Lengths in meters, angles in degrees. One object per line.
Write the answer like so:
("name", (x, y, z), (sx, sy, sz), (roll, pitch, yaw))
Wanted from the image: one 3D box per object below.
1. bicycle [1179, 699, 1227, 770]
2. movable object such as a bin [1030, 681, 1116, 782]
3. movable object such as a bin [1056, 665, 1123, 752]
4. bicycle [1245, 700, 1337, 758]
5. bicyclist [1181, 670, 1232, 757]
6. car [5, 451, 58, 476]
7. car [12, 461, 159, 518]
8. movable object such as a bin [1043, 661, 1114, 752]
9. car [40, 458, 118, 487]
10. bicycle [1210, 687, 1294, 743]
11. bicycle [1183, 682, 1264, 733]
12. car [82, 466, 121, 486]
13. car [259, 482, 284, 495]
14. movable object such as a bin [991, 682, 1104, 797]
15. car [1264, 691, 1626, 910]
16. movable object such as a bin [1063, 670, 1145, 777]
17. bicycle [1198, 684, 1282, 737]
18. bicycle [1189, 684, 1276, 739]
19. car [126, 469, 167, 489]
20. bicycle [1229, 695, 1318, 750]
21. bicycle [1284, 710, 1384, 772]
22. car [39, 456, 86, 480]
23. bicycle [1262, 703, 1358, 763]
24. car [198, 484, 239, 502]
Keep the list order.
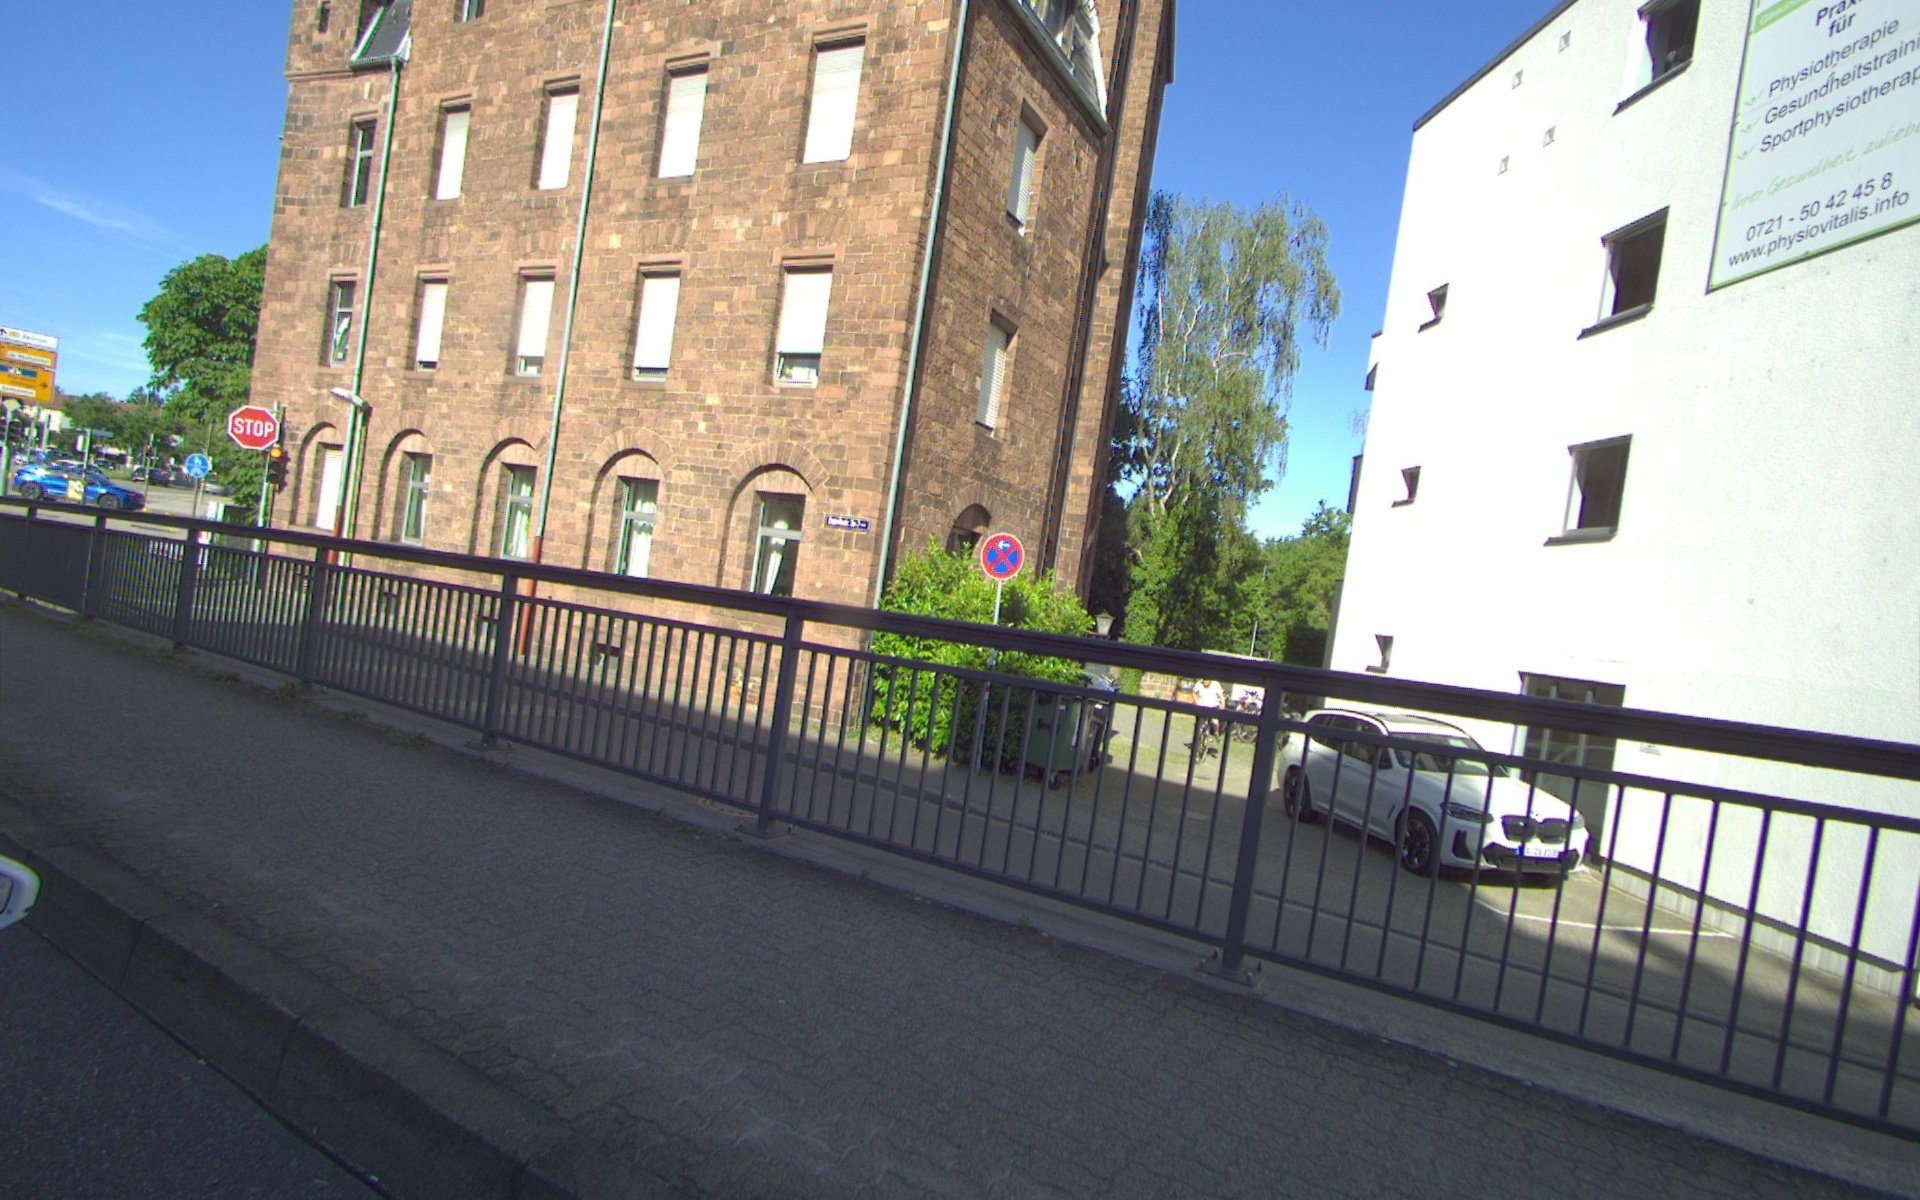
("bicycle", (4.935, 2.687, 20.332), (0.677, 1.155, 1.838), (9, 1, 17))
("movable object such as a bin", (1.756, 1.993, 15.472), (1.009, 1.307, 1.007), (10, 0, 14))
("movable object such as a bin", (2.642, 2.176, 20.449), (1.009, 1.539, 1.007), (9, 0, 14))
("bicycle", (7.970, 3.106, 24.244), (1.889, 1.065, 0.664), (8, 1, -6))
("bicyclist", (4.982, 2.277, 20.300), (0.675, 1.627, 0.696), (9, 0, 23))
("car", (-79.904, -11.746, 86.629), (1.860, 1.598, 3.978), (8, 1, -22))
("car", (-38.623, -4.852, 44.570), (4.344, 1.611, 1.912), (9, 1, -20))
("movable object such as a bin", (2.281, 2.010, 19.260), (1.009, 1.539, 1.007), (9, 0, 14))
("car", (-62.302, -8.982, 71.242), (1.966, 1.382, 4.306), (9, 1, -6))
("bicycle", (7.663, 3.017, 26.439), (1.889, 1.174, 0.664), (8, 1, -6))
("bicycle", (7.659, 3.127, 29.257), (2.075, 1.174, 0.664), (8, 1, -9))
("car", (-91.155, -13.143, 106.859), (1.860, 1.598, 3.978), (8, 1, -22))
("car", (-88.643, -14.319, 129.476), (1.765, 1.375, 4.052), (8, 2, -24))
("movable object such as a bin", (1.189, 1.845, 13.510), (1.011, 1.307, 1.005), (10, 0, 29))
("car", (5.963, 2.398, 13.152), (1.814, 1.707, 4.521), (8, 0, -9))
("movable object such as a bin", (2.397, 2.010, 16.654), (1.009, 1.539, 1.007), (9, 0, 14))
("bicycle", (7.903, 3.126, 28.405), (2.075, 1.174, 0.664), (8, 1, -9))
("bicycle", (7.402, 3.019, 27.372), (2.075, 1.174, 0.664), (8, 1, -9))
("car", (-73.231, -10.879, 90.614), (1.865, 1.311, 4.559), (8, 2, -28))
("bicycle", (7.865, 3.074, 25.272), (1.889, 1.065, 0.664), (8, 1, -6))
("bicycle", (8.329, 3.131, 22.442), (1.889, 1.065, 0.664), (8, 1, -6))
("car", (-82.323, -12.110, 92.331), (1.860, 1.598, 3.978), (8, 1, -22))
("bicycle", (8.125, 3.086, 23.356), (1.889, 1.065, 0.664), (8, 1, -6))
("car", (-70.636, -10.137, 95.908), (1.975, 1.311, 4.565), (8, 2, -23))
